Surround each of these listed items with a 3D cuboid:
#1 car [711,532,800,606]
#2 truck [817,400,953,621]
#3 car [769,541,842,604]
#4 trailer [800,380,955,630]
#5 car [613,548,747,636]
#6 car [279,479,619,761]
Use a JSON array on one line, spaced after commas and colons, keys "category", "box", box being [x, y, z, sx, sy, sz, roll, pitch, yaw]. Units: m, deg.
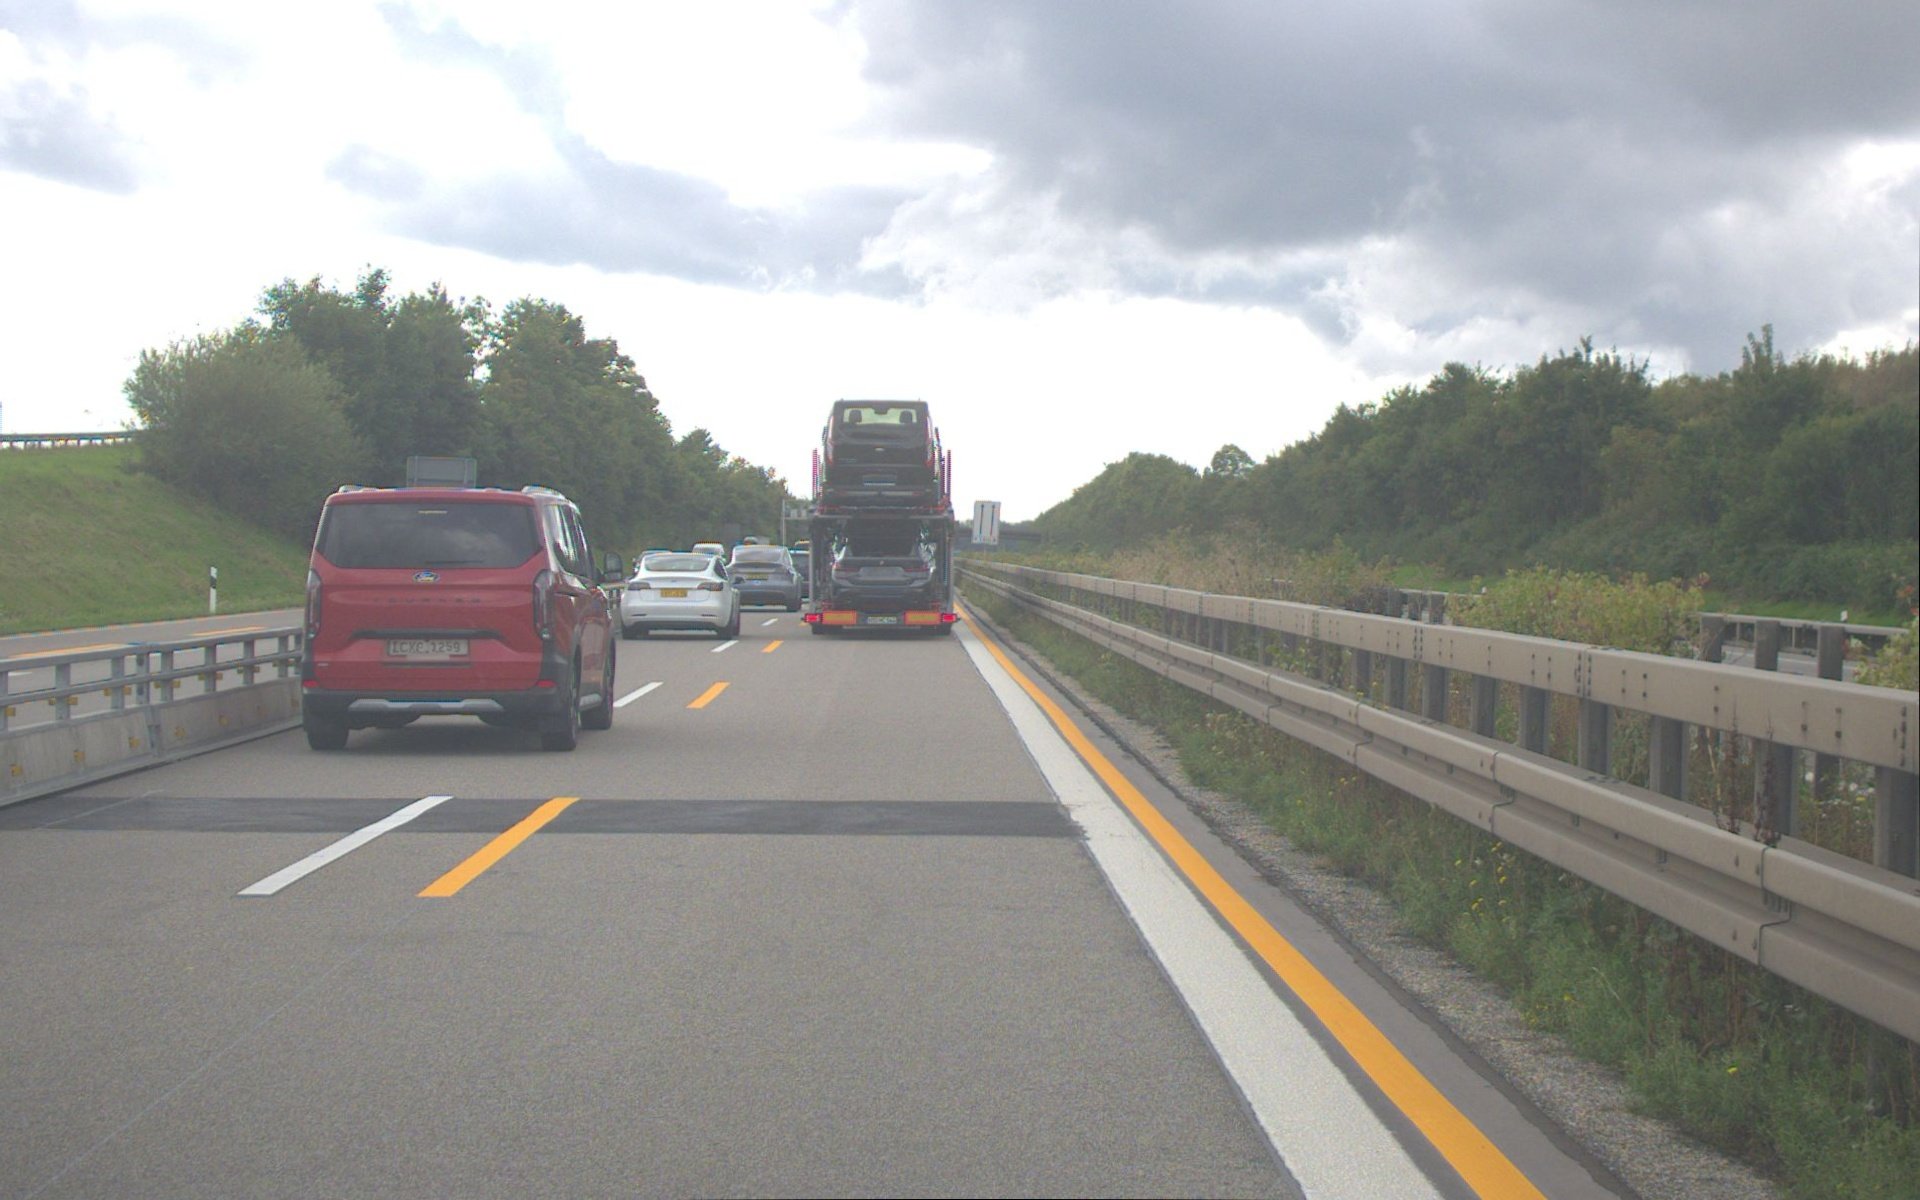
[{"category": "car", "box": [-4.966, -0.773, 83.948, 2.031, 1.751, 4.578, 0, 1, -1]}, {"category": "truck", "box": [-1.409, -1.708, 66.983, 2.515, 4.091, 5.685, 0, 1, 0]}, {"category": "car", "box": [-4.391, -0.808, 98.248, 2.031, 1.751, 4.578, 0, 1, -2]}, {"category": "trailer", "box": [-1.375, -1.642, 62.148, 2.515, 4.091, 11.114, 0, 1, 0]}, {"category": "car", "box": [-4.725, -0.166, 58.591, 2.031, 1.426, 4.578, 0, 1, -1]}, {"category": "car", "box": [-3.868, 0.110, 26.789, 2.031, 2.007, 4.578, 0, 1, -1]}]
